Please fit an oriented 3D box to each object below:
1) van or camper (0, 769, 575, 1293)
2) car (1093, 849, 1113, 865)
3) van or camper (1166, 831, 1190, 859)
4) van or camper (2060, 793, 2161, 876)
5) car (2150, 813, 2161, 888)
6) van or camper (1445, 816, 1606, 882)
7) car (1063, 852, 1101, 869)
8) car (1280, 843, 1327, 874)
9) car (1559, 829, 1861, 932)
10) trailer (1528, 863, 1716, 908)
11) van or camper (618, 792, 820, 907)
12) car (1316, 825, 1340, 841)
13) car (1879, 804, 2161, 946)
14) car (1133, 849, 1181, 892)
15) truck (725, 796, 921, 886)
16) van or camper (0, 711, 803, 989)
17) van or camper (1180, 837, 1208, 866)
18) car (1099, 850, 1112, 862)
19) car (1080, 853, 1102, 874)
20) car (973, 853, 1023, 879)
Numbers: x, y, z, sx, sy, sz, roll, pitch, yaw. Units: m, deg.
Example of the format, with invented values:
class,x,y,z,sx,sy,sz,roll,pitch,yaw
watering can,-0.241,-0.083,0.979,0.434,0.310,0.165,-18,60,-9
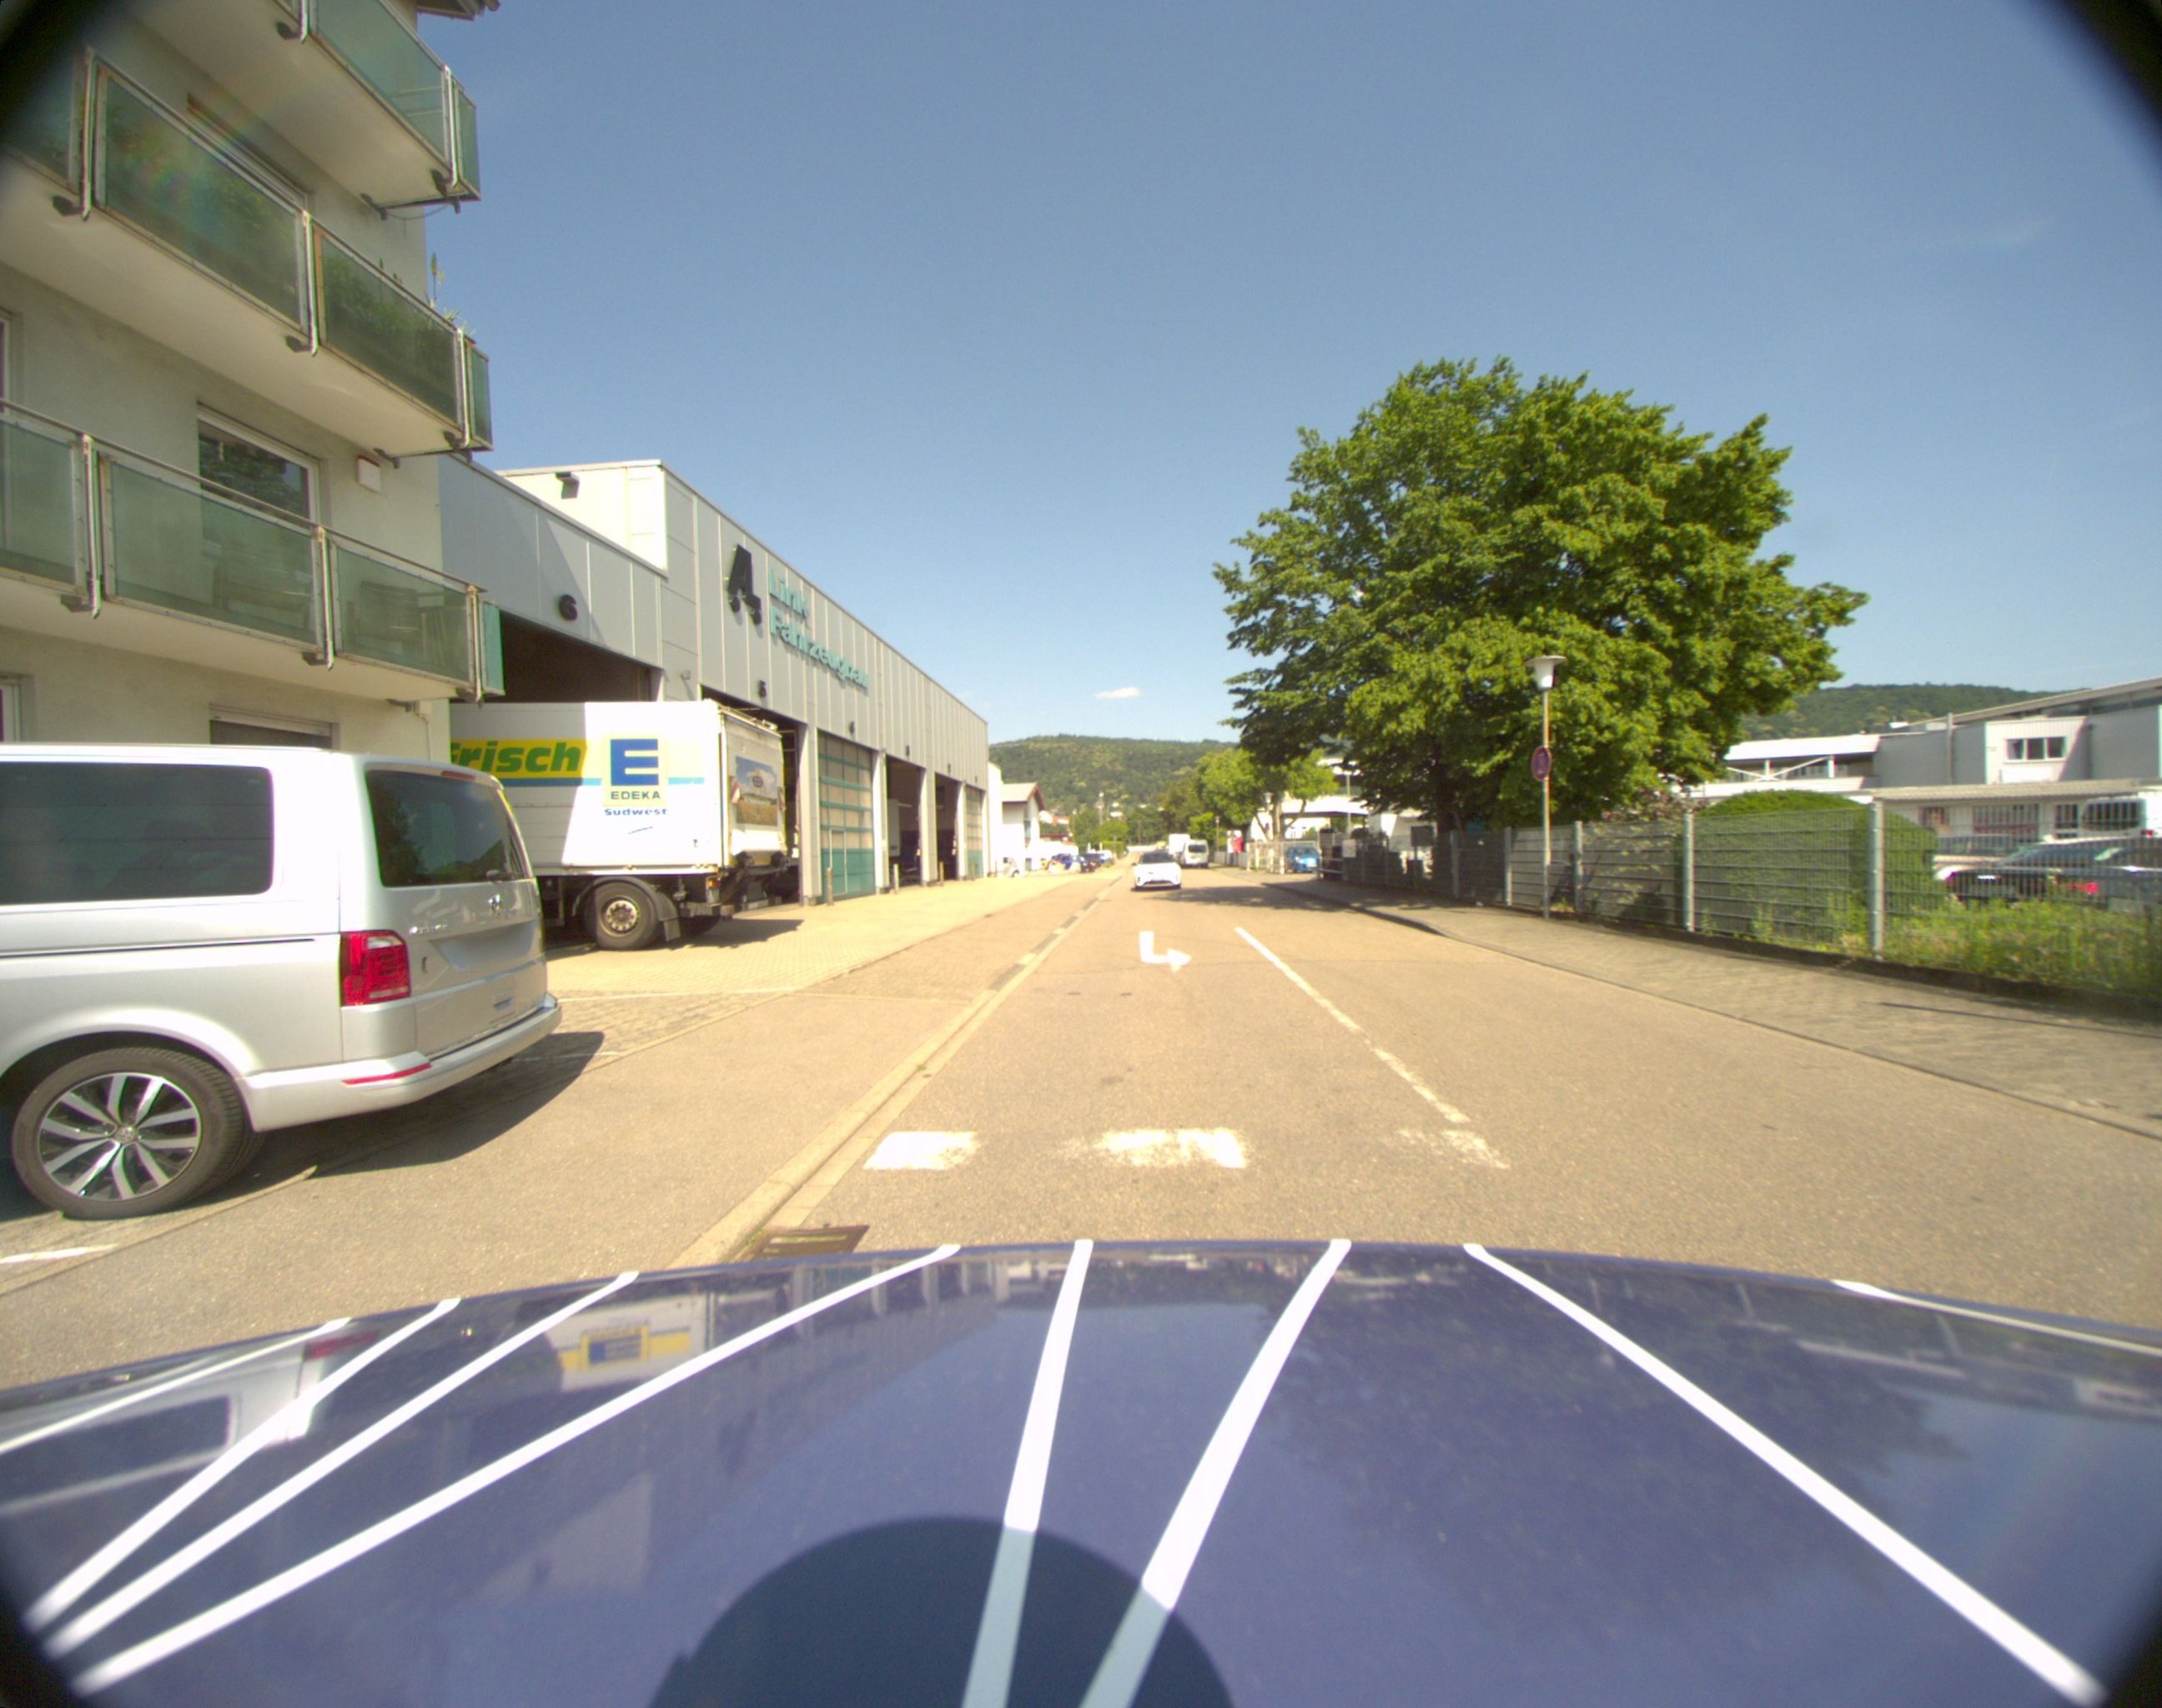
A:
class,x,y,z,sx,sy,sz,roll,pitch,yaw
van or camper,-5.270,0.659,3.407,4.558,1.897,1.997,-1,0,-15
car,2.165,0.267,74.070,1.453,1.487,3.185,-4,1,-6
van or camper,11.914,-1.128,93.722,2.524,3.351,5.592,-1,1,4
van or camper,31.820,-0.603,21.754,4.594,2.292,1.782,-1,2,11
car,31.119,-0.117,19.176,4.572,2.002,2.060,-1,1,13
van or camper,14.581,-0.167,25.126,4.191,1.853,1.774,-3,1,7
car,0.073,0.535,62.828,2.974,1.332,1.453,-1,1,6
car,11.972,0.209,41.152,1.644,1.449,3.525,-4,1,4
car,9.725,0.394,11.978,3.385,1.476,1.518,-1,1,7
trailer,12.826,0.734,18.179,3.288,0.934,1.613,-1,1,7
van or camper,-10.904,-0.142,23.136,5.054,3.188,2.000,-2,1,3
car,23.456,-1.969,72.025,1.705,1.449,3.531,-1,1,25
car,12.580,0.195,9.193,3.833,1.533,1.857,-1,1,2
car,3.029,0.599,30.503,1.735,1.521,4.110,-1,1,5
truck,-11.469,-0.533,34.138,7.851,3.760,2.625,-1,1,6
van or camper,-10.777,-0.078,11.970,11.631,3.672,2.780,-1,1,-2
van or camper,9.390,-0.231,63.364,2.027,2.363,4.686,0,1,4
car,3.016,0.216,93.832,1.452,1.371,3.187,-4,1,2
car,0.758,0.636,53.678,1.452,1.371,3.187,-2,1,2
car,-5.177,0.759,47.628,2.828,1.525,1.309,-1,-1,-42
